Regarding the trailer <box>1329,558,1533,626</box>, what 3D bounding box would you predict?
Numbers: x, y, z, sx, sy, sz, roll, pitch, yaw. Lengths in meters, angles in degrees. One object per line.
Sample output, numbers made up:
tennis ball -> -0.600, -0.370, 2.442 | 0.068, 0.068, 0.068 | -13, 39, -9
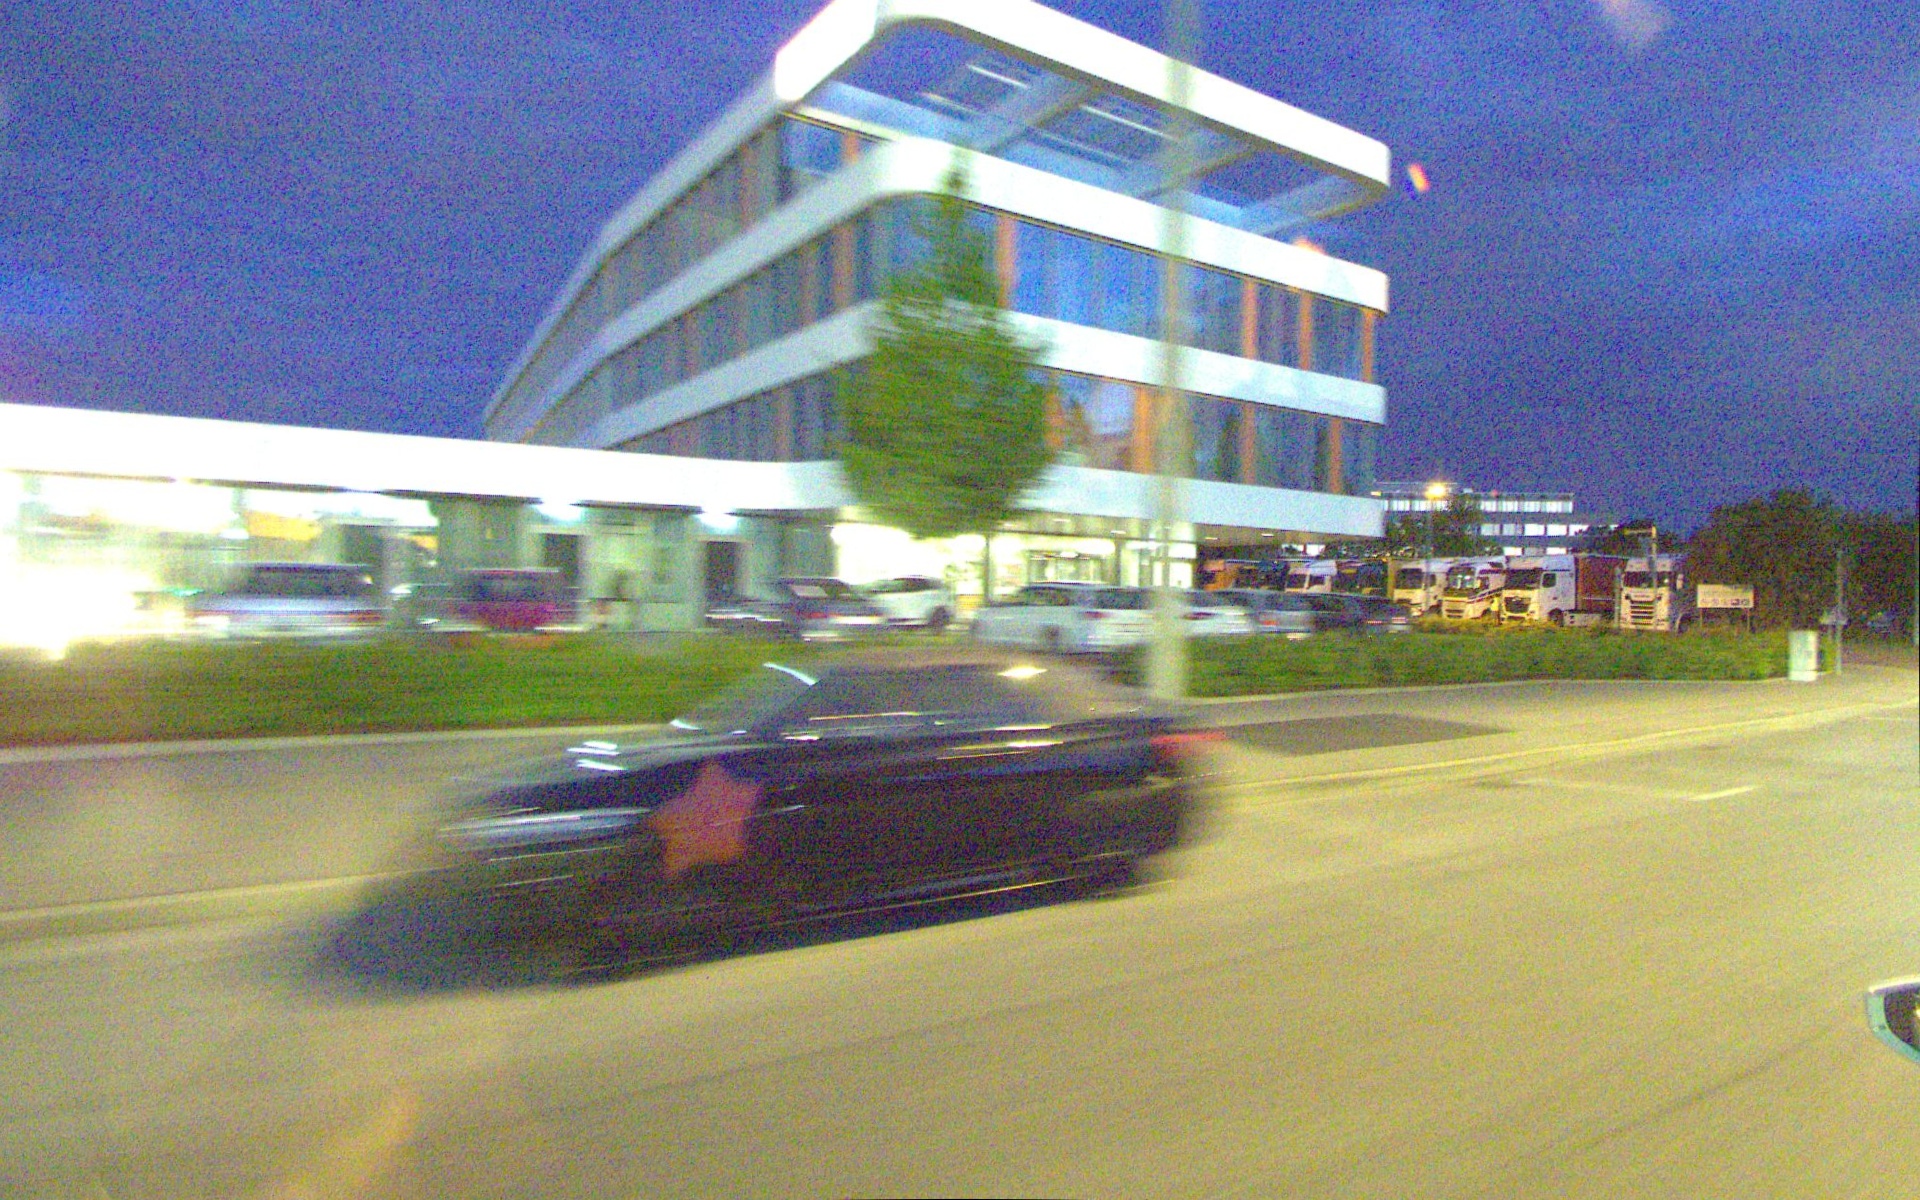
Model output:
trailer -> 33.154, -0.504, 70.603 | 14.763, 4.416, 3.056 | 1, 1, -18

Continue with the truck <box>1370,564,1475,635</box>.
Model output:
truck -> 30.024, -0.035, 65.215 | 5.477, 4.416, 3.056 | 1, 1, -18

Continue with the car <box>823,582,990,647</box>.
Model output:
car -> -1.464, 0.375, 27.616 | 4.154, 1.663, 1.983 | 1, 1, -31

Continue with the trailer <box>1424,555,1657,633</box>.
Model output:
trailer -> 36.544, -0.324, 63.134 | 14.750, 4.416, 3.058 | 1, 1, -15

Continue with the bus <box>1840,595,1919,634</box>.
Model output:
bus -> 83.557, 1.265, 88.630 | 12.470, 3.247, 3.011 | 0, 0, -18

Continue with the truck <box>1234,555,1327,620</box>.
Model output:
truck -> 22.792, -0.866, 71.527 | 5.477, 4.416, 3.056 | 1, 1, -18

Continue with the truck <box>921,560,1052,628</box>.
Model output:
truck -> 1.654, -0.395, 74.291 | 3.538, 4.611, 12.488 | 1, 0, -31

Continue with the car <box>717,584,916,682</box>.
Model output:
car -> -2.531, 0.476, 16.754 | 1.806, 1.412, 4.245 | 1, 0, -30

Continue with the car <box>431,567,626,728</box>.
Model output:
car -> -6.094, 0.573, 13.867 | 1.940, 1.840, 4.382 | 1, -1, -30

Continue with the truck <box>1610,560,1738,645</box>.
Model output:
truck -> 35.101, 0.118, 49.447 | 4.435, 3.985, 3.054 | 1, 1, -20

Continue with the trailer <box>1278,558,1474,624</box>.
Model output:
trailer -> 30.747, -0.614, 74.096 | 14.763, 4.416, 3.056 | 1, 1, -18

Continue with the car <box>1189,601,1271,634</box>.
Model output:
car -> 14.525, 0.924, 54.242 | 1.873, 1.573, 3.958 | 1, 1, -36

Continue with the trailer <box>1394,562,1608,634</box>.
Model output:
trailer -> 36.229, -0.099, 67.161 | 14.761, 4.416, 3.056 | 1, 1, -17

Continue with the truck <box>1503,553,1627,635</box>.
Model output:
truck -> 32.481, -0.330, 54.013 | 4.851, 4.204, 3.060 | 1, 1, -13

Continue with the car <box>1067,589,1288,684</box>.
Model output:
car -> 4.307, 0.665, 20.566 | 1.941, 1.703, 4.380 | 1, 0, -32

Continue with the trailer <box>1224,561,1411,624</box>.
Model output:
trailer -> 27.803, -0.531, 77.875 | 14.763, 4.416, 3.056 | 1, 1, -18

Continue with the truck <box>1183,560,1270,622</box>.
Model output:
truck -> 19.957, -0.667, 75.358 | 5.477, 4.416, 3.056 | 1, 1, -18

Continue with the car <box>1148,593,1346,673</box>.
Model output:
car -> 6.236, 0.666, 22.291 | 1.820, 1.600, 4.111 | 1, 0, -31

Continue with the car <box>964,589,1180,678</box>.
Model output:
car -> 1.986, 0.565, 19.169 | 1.829, 1.498, 4.382 | 1, 0, -30

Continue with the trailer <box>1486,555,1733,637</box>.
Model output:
trailer -> 38.585, -0.186, 59.632 | 14.750, 4.416, 3.059 | 1, 1, -15

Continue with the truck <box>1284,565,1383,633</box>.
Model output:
truck -> 25.276, -0.055, 68.113 | 5.477, 4.416, 3.056 | 1, 1, -18

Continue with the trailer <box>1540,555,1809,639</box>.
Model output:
trailer -> 39.612, -0.131, 55.671 | 14.744, 4.204, 3.060 | 1, 1, -13

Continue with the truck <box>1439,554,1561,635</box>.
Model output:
truck -> 30.928, -0.315, 57.632 | 5.472, 4.416, 3.059 | 1, 1, -14

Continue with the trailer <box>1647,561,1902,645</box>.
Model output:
trailer -> 42.377, 0.238, 52.108 | 14.774, 3.985, 3.054 | 1, 1, -20

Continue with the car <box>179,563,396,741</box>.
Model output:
car -> -8.391, 0.546, 12.874 | 1.940, 1.840, 4.584 | 1, 0, -30

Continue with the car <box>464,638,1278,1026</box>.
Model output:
car -> -0.352, 0.956, 5.751 | 4.312, 1.389, 1.804 | 1, 0, -32

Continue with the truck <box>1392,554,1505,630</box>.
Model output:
truck -> 29.778, -0.454, 61.355 | 5.472, 4.416, 3.059 | 1, 1, -15

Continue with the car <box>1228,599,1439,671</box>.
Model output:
car -> 8.564, 0.747, 23.454 | 2.035, 1.471, 4.431 | 1, 0, -27
